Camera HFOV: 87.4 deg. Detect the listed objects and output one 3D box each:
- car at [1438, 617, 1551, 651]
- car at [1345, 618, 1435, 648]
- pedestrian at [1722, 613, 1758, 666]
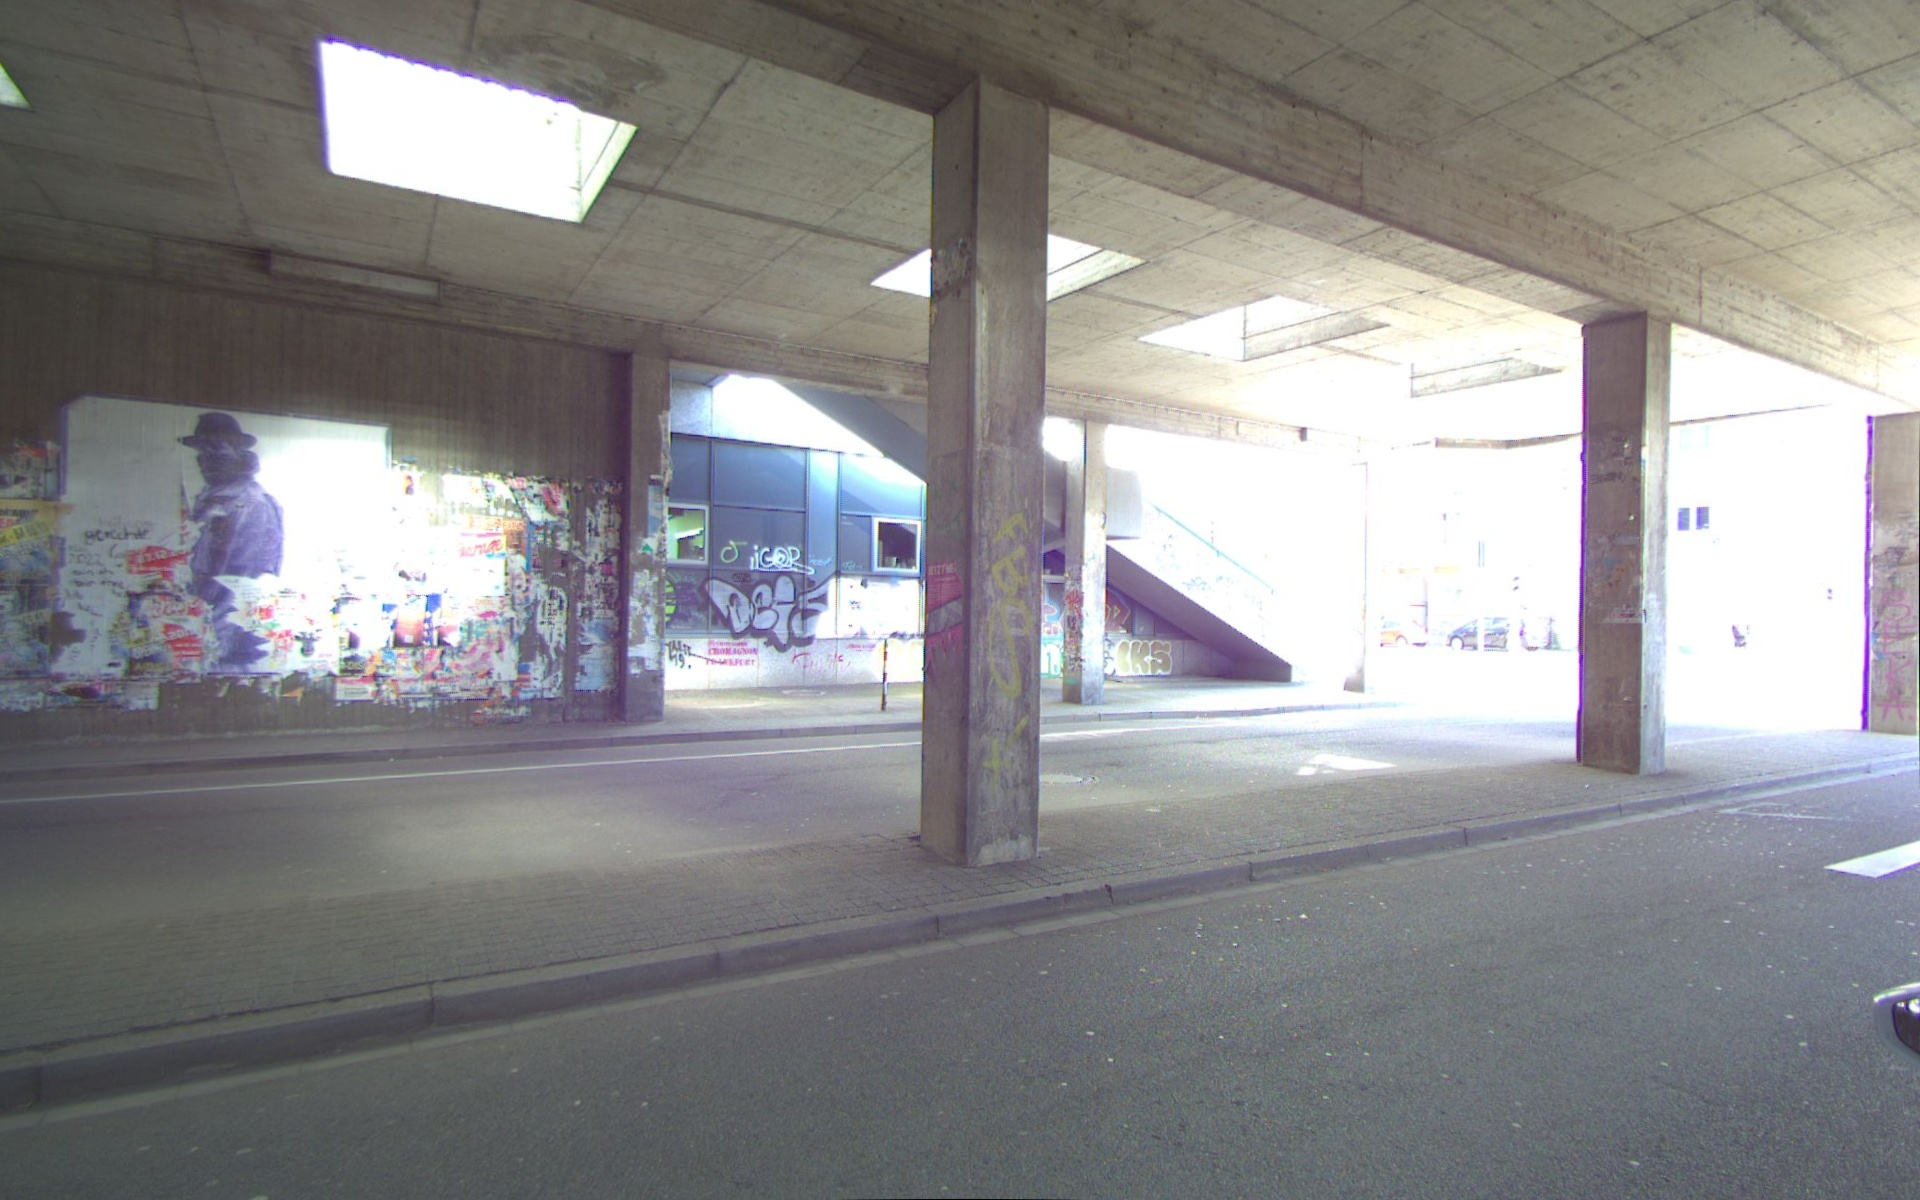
[{"bbox_3d":[25.277,1.594,47.674,1.905,1.428,4.382,2,0,-32],"label":"car"},{"bbox_3d":[22.521,1.715,52.724,1.905,1.428,3.965,2,0,-32],"label":"car"},{"bbox_3d":[25.056,1.270,32.262,0.732,1.659,0.669,2,0,-30],"label":"pedestrian"}]
